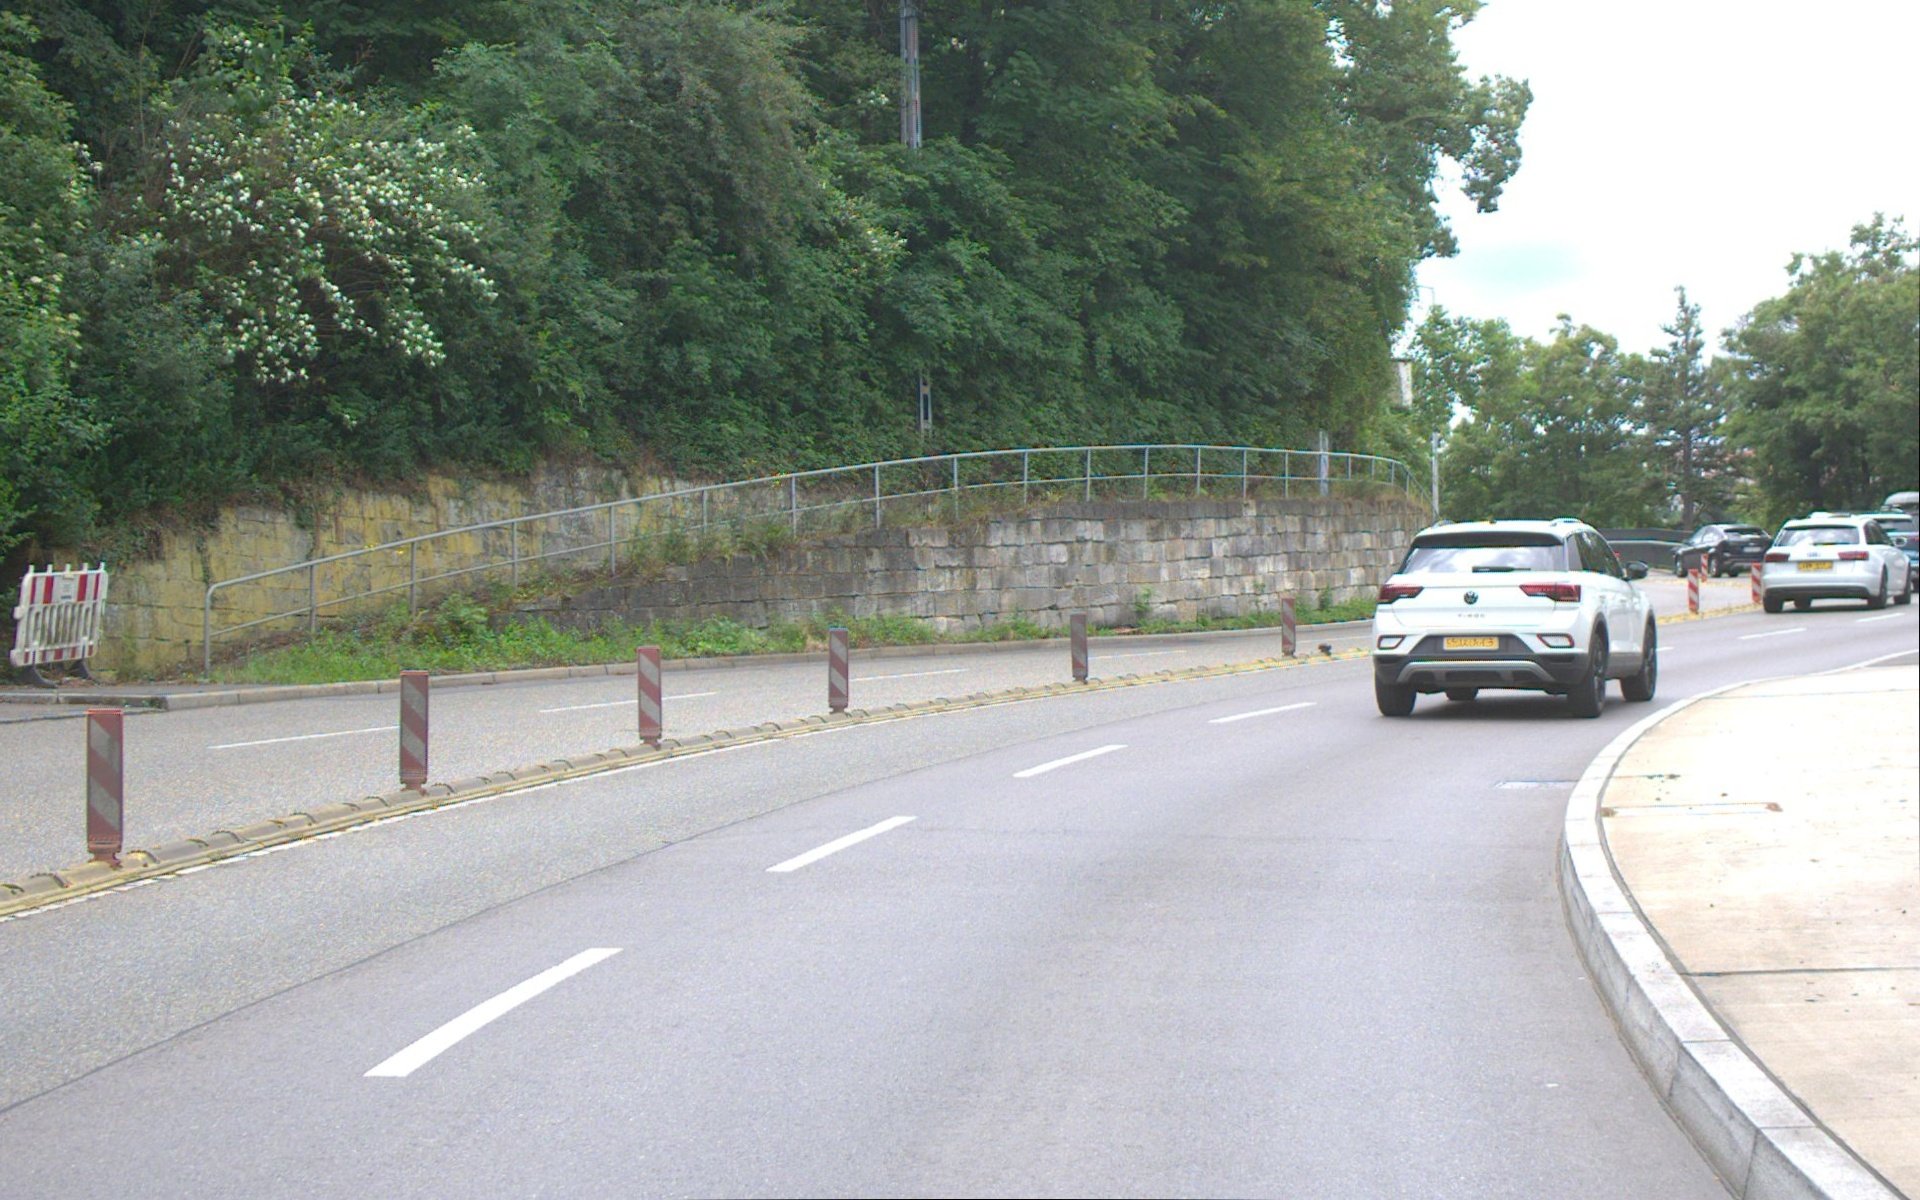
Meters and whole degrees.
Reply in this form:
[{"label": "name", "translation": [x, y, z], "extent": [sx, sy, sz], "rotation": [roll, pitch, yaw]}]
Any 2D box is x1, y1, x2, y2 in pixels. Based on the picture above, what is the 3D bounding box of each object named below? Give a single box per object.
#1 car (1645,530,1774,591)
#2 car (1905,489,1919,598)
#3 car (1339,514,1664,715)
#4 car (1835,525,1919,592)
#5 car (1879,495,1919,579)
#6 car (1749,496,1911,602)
[{"label": "car", "translation": [20.896, -1.122, 96.003], "extent": [1.888, 1.606, 4.001], "rotation": [1, 1, -14]}, {"label": "car", "translation": [15.525, -0.801, 51.556], "extent": [1.996, 1.581, 3.995], "rotation": [2, 1, 24]}, {"label": "car", "translation": [4.515, 0.067, 28.232], "extent": [1.869, 1.531, 3.799], "rotation": [0, 1, 21]}, {"label": "car", "translation": [25.175, -1.116, 92.047], "extent": [1.798, 1.766, 4.608], "rotation": [0, 1, -7]}, {"label": "car", "translation": [18.637, -1.164, 65.713], "extent": [1.995, 1.535, 4.007], "rotation": [2, 1, 15]}, {"label": "car", "translation": [13.797, -0.791, 54.371], "extent": [1.909, 1.568, 3.995], "rotation": [2, 1, 22]}]
